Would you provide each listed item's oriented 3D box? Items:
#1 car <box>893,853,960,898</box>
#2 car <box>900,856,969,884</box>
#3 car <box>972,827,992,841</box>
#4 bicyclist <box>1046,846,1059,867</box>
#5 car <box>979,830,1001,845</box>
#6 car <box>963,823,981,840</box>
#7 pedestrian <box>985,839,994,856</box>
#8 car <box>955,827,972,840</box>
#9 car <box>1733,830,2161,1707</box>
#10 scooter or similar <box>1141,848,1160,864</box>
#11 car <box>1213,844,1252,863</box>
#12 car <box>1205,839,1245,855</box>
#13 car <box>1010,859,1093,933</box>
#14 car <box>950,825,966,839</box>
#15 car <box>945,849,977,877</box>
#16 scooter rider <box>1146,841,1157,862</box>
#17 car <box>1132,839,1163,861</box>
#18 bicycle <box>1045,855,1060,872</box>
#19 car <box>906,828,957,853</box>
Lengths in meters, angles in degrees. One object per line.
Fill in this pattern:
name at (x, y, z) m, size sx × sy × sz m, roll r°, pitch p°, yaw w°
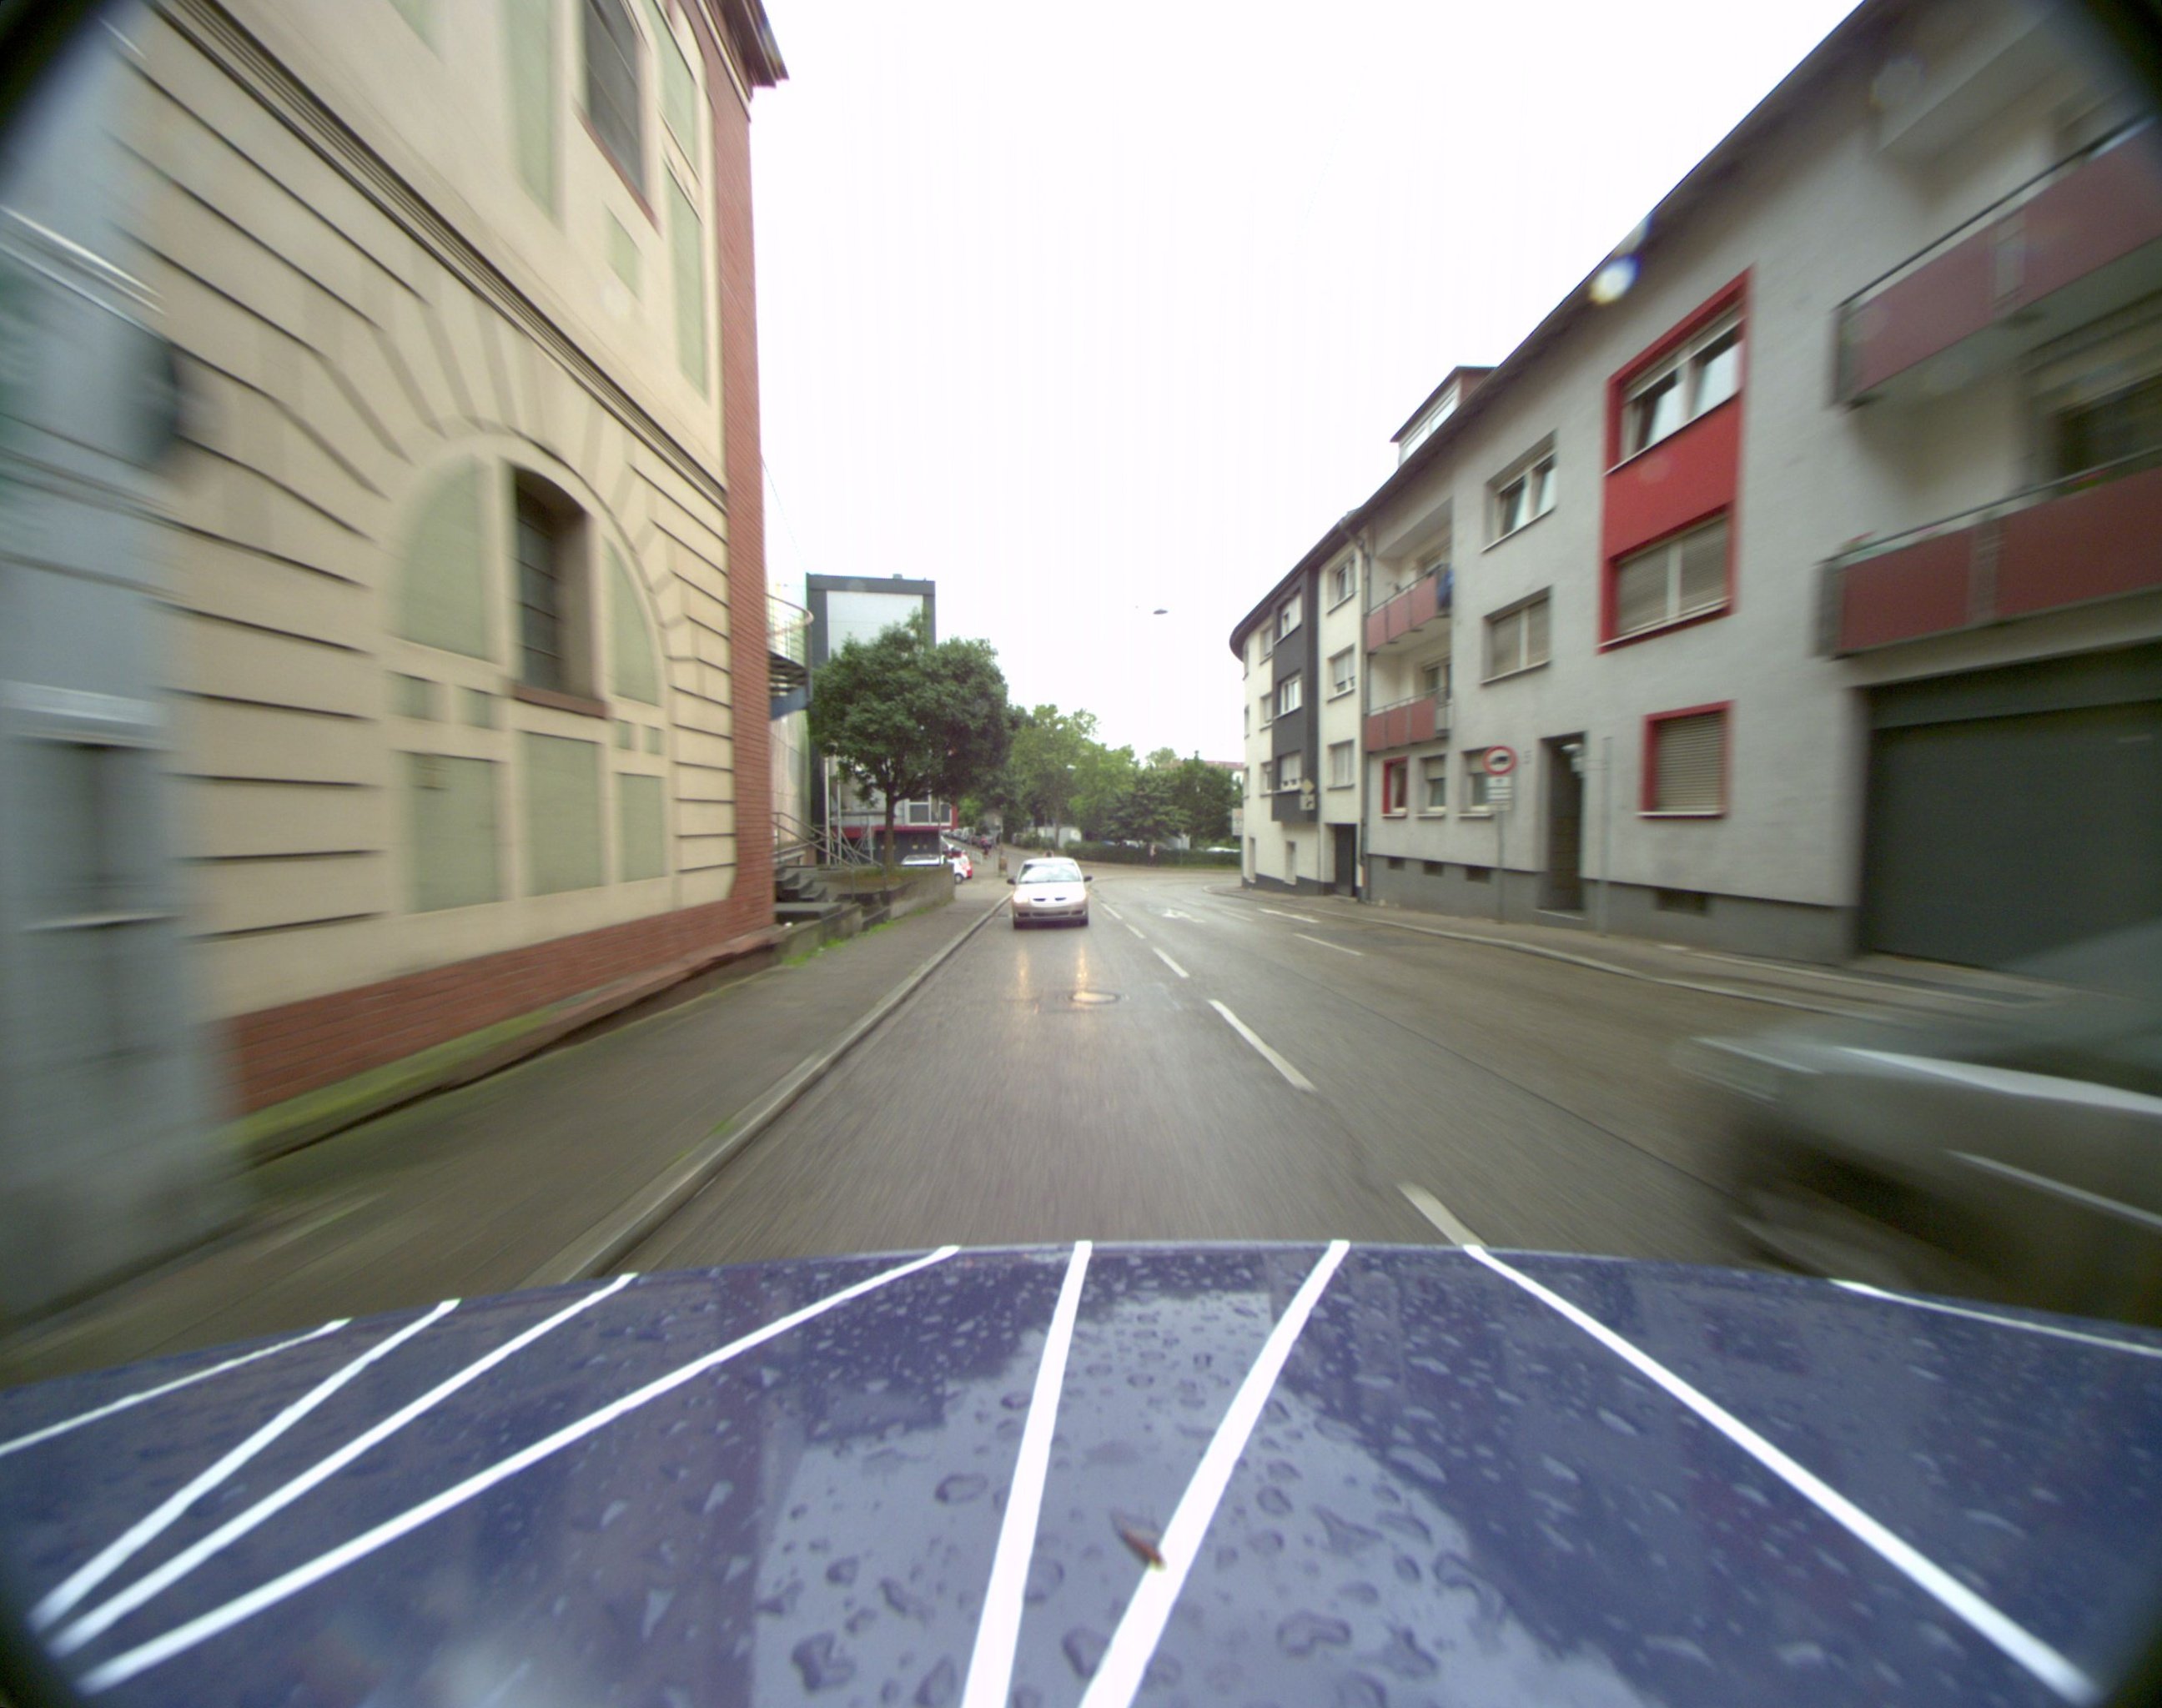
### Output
car at (-6.023, 0.822, 30.128) m, size 1.858 × 1.608 × 4.915 m, roll -1°, pitch -1°, yaw -3°
car at (-8.996, 0.956, 46.525) m, size 3.995 × 1.524 × 1.872 m, roll 2°, pitch 2°, yaw -16°
car at (-12.581, -2.618, 96.672) m, size 1.910 × 1.642 × 3.992 m, roll -1°, pitch 4°, yaw -16°
bicyclist at (-2.020, 0.166, 54.031) m, size 0.888 × 1.481 × 0.968 m, roll 0°, pitch 1°, yaw 1°
car at (-10.787, -1.945, 90.092) m, size 1.910 × 1.642 × 3.992 m, roll -1°, pitch 4°, yaw -16°
car at (-14.847, -3.088, 103.480) m, size 1.910 × 2.064 × 3.992 m, roll -1°, pitch 4°, yaw -16°
pedestrian at (-8.805, -0.661, 73.174) m, size 0.704 × 1.559 × 0.621 m, roll -1°, pitch 5°, yaw -14°
car at (-16.999, -3.005, 109.844) m, size 1.910 × 1.642 × 3.992 m, roll -1°, pitch 4°, yaw -16°
car at (2.808, 0.793, 0.237) m, size 1.769 × 1.648 × 3.986 m, roll 0°, pitch 1°, yaw 0°
scooter or similar at (6.003, 0.190, 65.738) m, size 1.408 × 1.315 × 0.804 m, roll 1°, pitch 1°, yaw -7°
car at (15.309, -0.057, 77.083) m, size 1.639 × 1.612 × 4.201 m, roll 2°, pitch 2°, yaw -24°
car at (15.901, -0.771, 83.981) m, size 4.005 × 1.502 × 1.796 m, roll 2°, pitch 2°, yaw -23°
car at (-0.682, 0.904, 17.993) m, size 1.687 × 1.496 × 3.838 m, roll -2°, pitch 0°, yaw -2°
car at (-18.779, -3.414, 115.797) m, size 1.910 × 2.024 × 3.992 m, roll -1°, pitch 4°, yaw -16°
car at (-8.335, 0.550, 52.525) m, size 1.933 × 1.702 × 4.485 m, roll 0°, pitch 2°, yaw -12°
scooter rider at (6.102, -0.223, 65.740) m, size 0.781 × 1.810 × 0.804 m, roll 1°, pitch 1°, yaw -7°
car at (6.413, -0.405, 73.343) m, size 1.638 × 1.949 × 4.205 m, roll 2°, pitch 2°, yaw -14°
bicycle at (-2.017, 0.694, 54.019) m, size 0.888 × 1.180 × 2.133 m, roll 0°, pitch 0°, yaw 1°
car at (-14.689, -1.338, 74.851) m, size 4.892 × 2.200 × 1.880 m, roll 1°, pitch 4°, yaw -9°
